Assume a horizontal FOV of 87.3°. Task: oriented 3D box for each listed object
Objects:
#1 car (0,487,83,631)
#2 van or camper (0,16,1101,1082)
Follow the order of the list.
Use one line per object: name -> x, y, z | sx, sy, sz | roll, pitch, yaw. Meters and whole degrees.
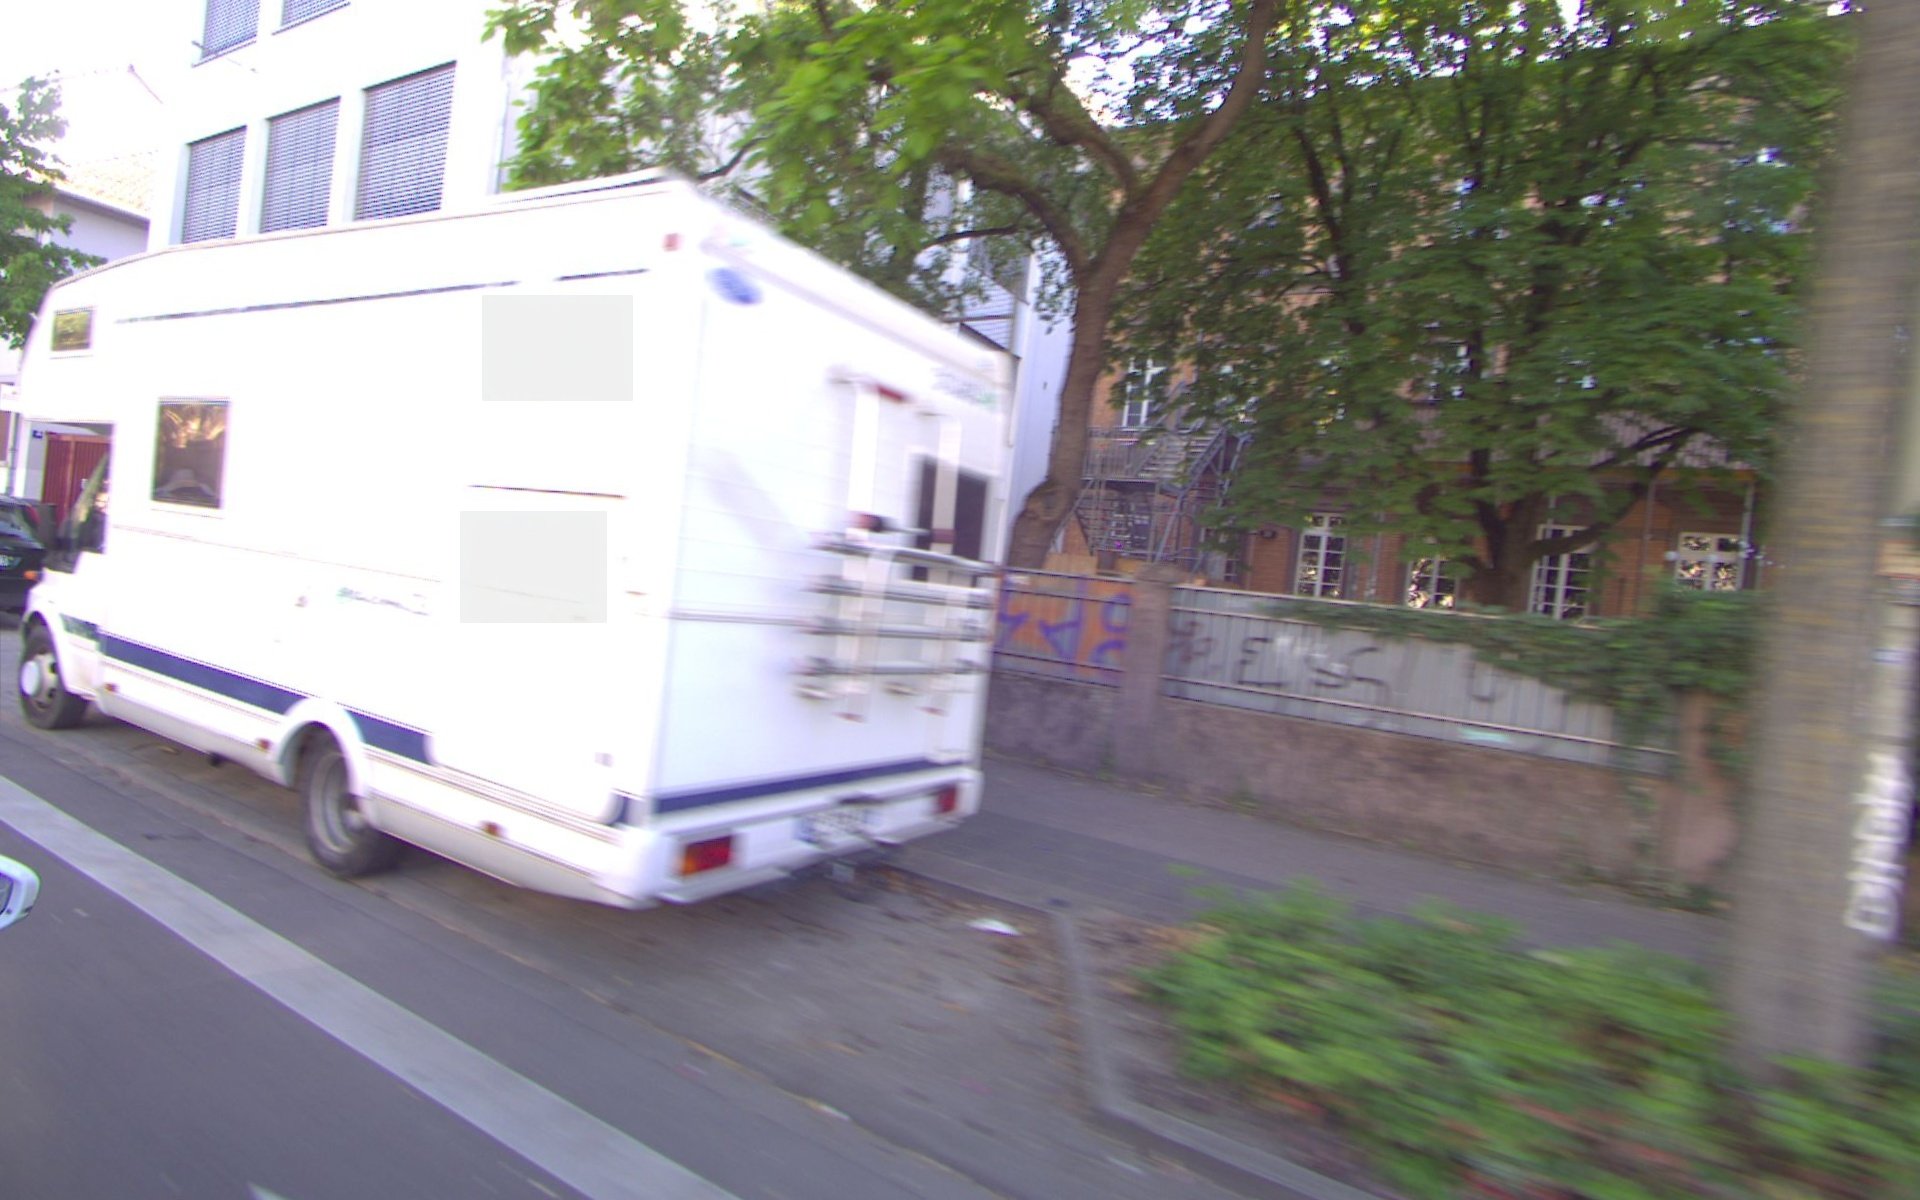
car -> -11.663, -0.640, 11.148 | 3.980, 1.438, 1.688 | 7, 1, 30
van or camper -> -3.203, -0.461, 5.947 | 7.425, 3.168, 2.375 | 7, 3, 32
